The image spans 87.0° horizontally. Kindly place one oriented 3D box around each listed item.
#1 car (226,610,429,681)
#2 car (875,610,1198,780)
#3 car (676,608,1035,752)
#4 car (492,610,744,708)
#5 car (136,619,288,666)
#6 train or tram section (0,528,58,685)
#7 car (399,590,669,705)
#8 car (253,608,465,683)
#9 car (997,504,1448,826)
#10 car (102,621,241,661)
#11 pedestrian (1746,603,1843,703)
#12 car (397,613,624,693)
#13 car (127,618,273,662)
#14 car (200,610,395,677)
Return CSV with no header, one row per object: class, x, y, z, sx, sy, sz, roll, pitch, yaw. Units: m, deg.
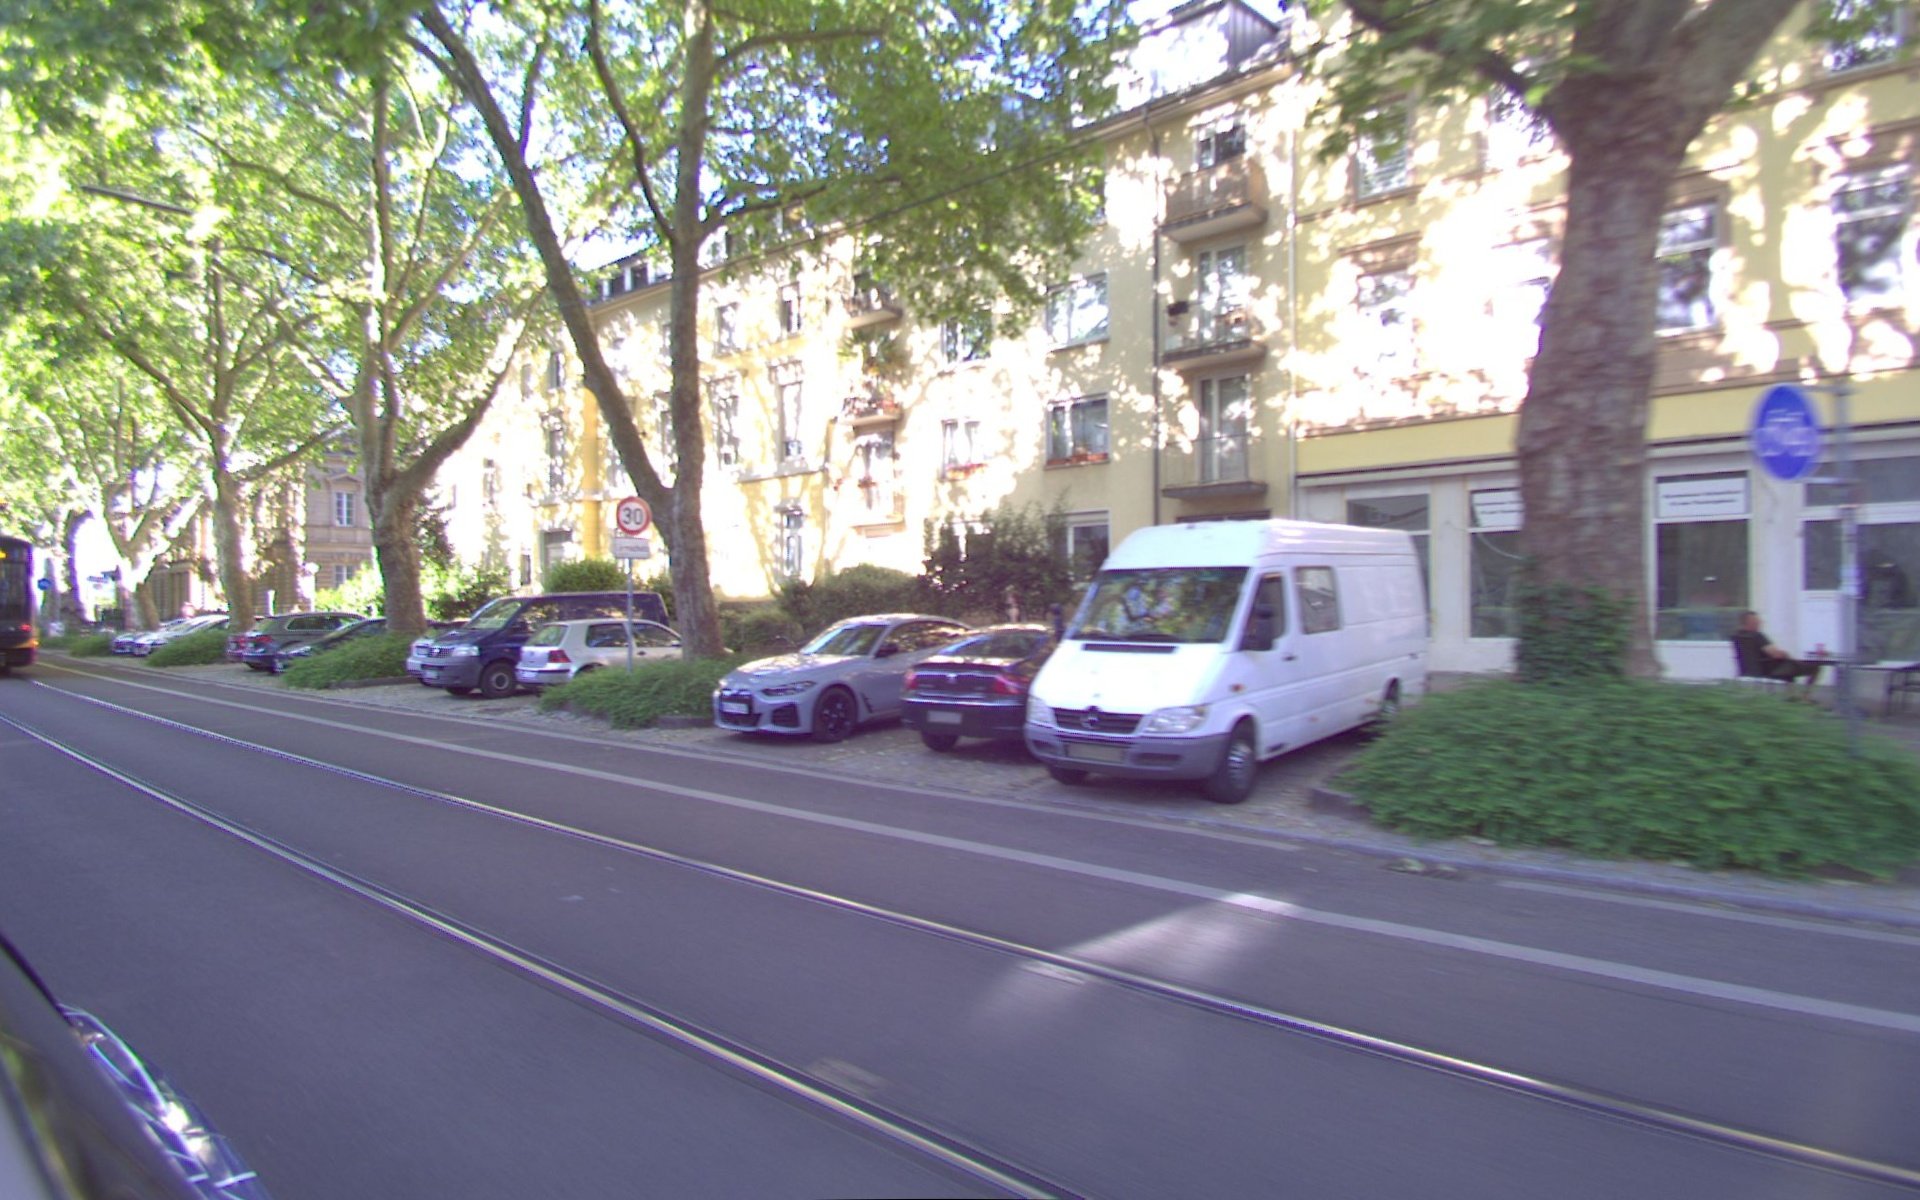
car,-17.340,1.187,27.904,1.998,1.625,4.311,-2,0,40
car,1.082,0.951,12.120,1.902,1.509,4.105,-1,1,38
car,-1.220,0.944,13.937,1.999,1.456,4.881,-2,0,40
car,-6.222,1.012,18.743,1.868,1.456,4.018,-2,0,40
car,-25.568,1.415,34.721,1.525,1.441,3.951,-1,-1,36
train or tram section,-26.692,0.198,26.693,11.057,3.646,2.906,0,1,41
car,-8.360,0.849,20.235,1.919,1.922,4.583,-2,0,38
car,-15.581,1.126,26.396,1.998,1.625,4.311,-2,0,40
car,3.209,0.418,10.766,1.998,2.426,6.536,-2,0,40
car,-29.836,1.512,38.415,1.409,1.385,3.951,-1,-1,36
pedestrian,10.868,0.667,13.181,0.930,1.250,0.699,-1,-1,42
car,-9.871,1.107,22.510,1.656,1.418,4.311,-2,0,40
car,-27.391,1.394,36.577,1.598,1.441,3.951,-1,-1,36
car,-19.060,1.199,29.264,1.998,1.625,4.311,-2,0,40
